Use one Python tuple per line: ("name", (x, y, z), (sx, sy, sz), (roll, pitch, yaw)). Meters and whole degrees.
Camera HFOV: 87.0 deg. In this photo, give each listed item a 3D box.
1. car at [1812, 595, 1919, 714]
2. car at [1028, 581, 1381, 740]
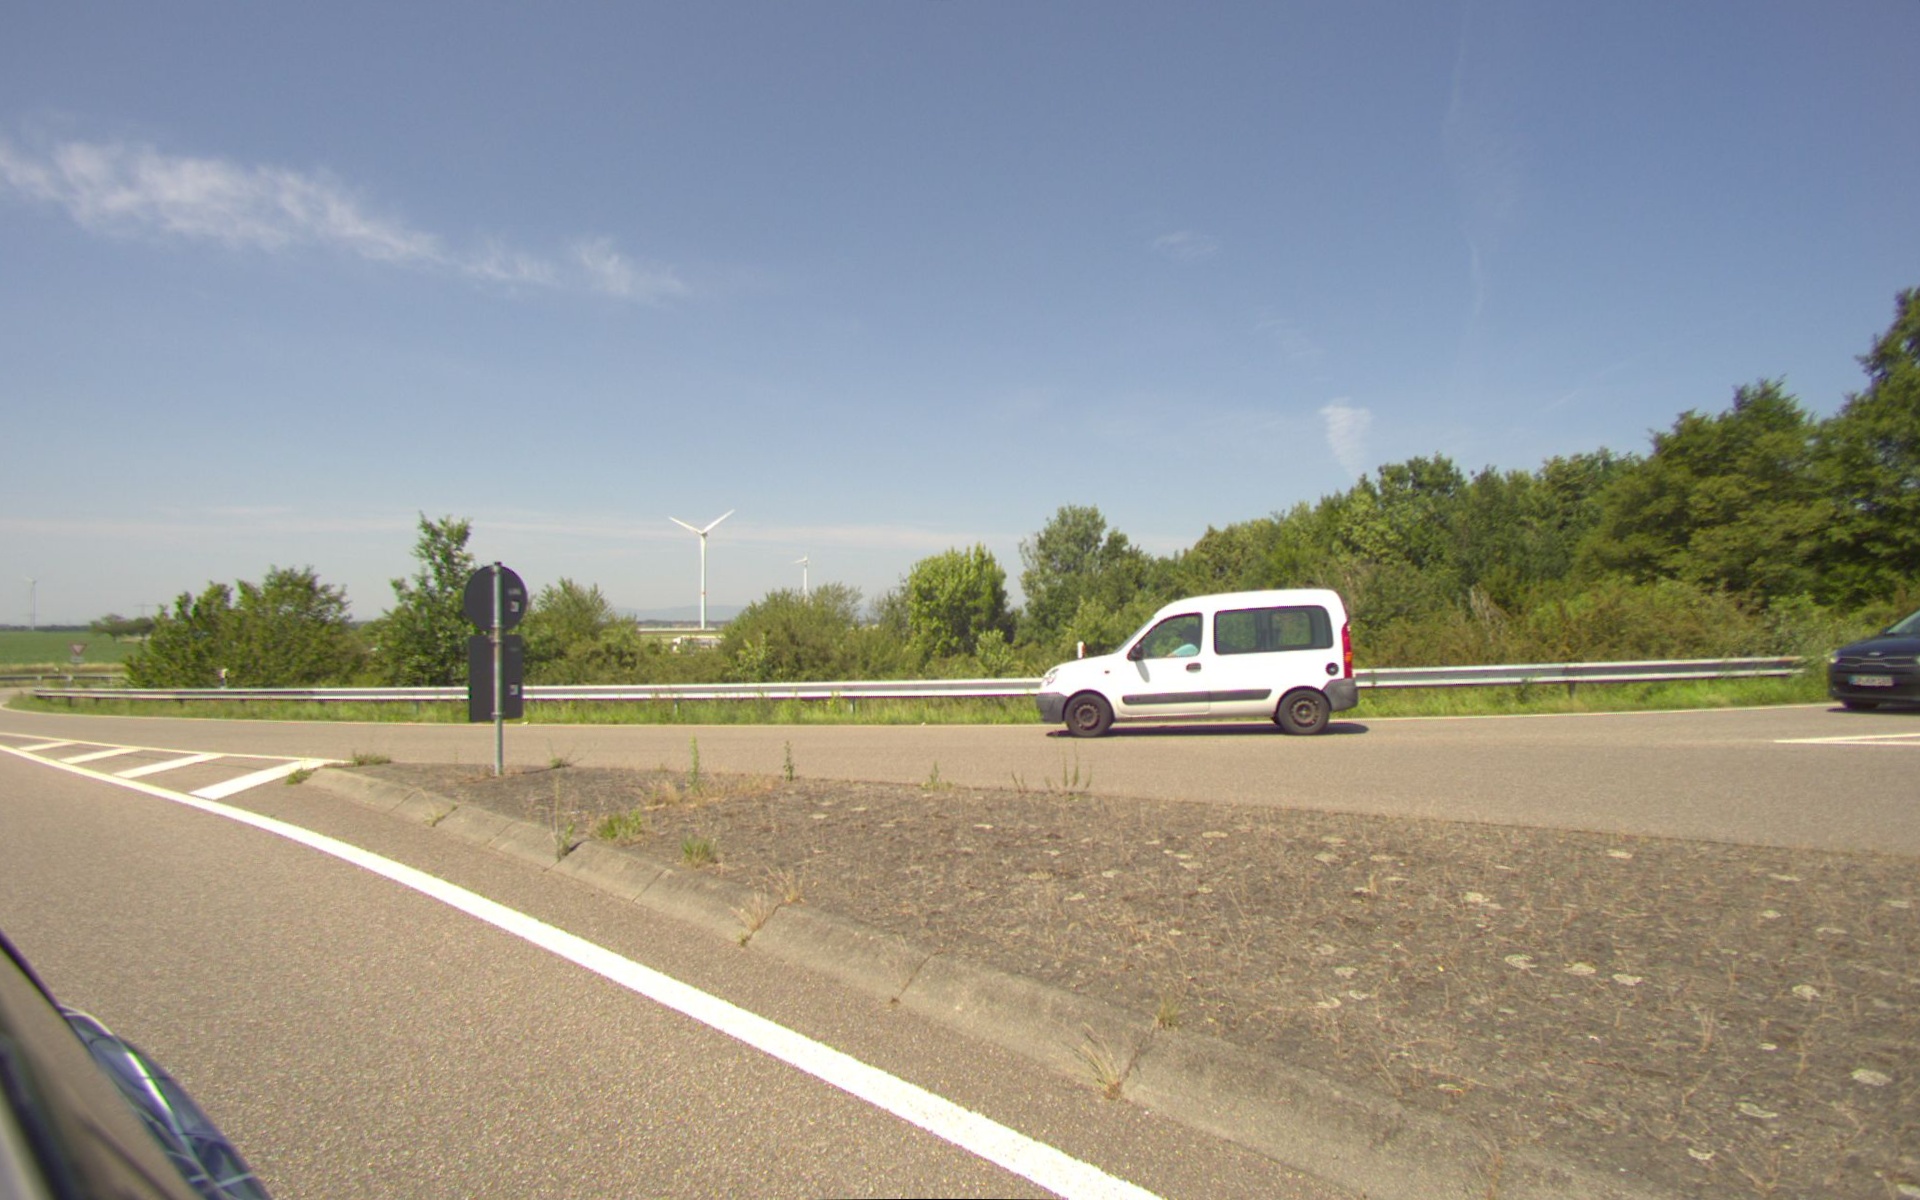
("car", (13.240, 0.630, 12.754), (3.823, 1.406, 1.717), (-1, -4, -11))
("car", (3.010, 0.787, 12.992), (4.039, 1.775, 1.736), (-3, -3, 11))
